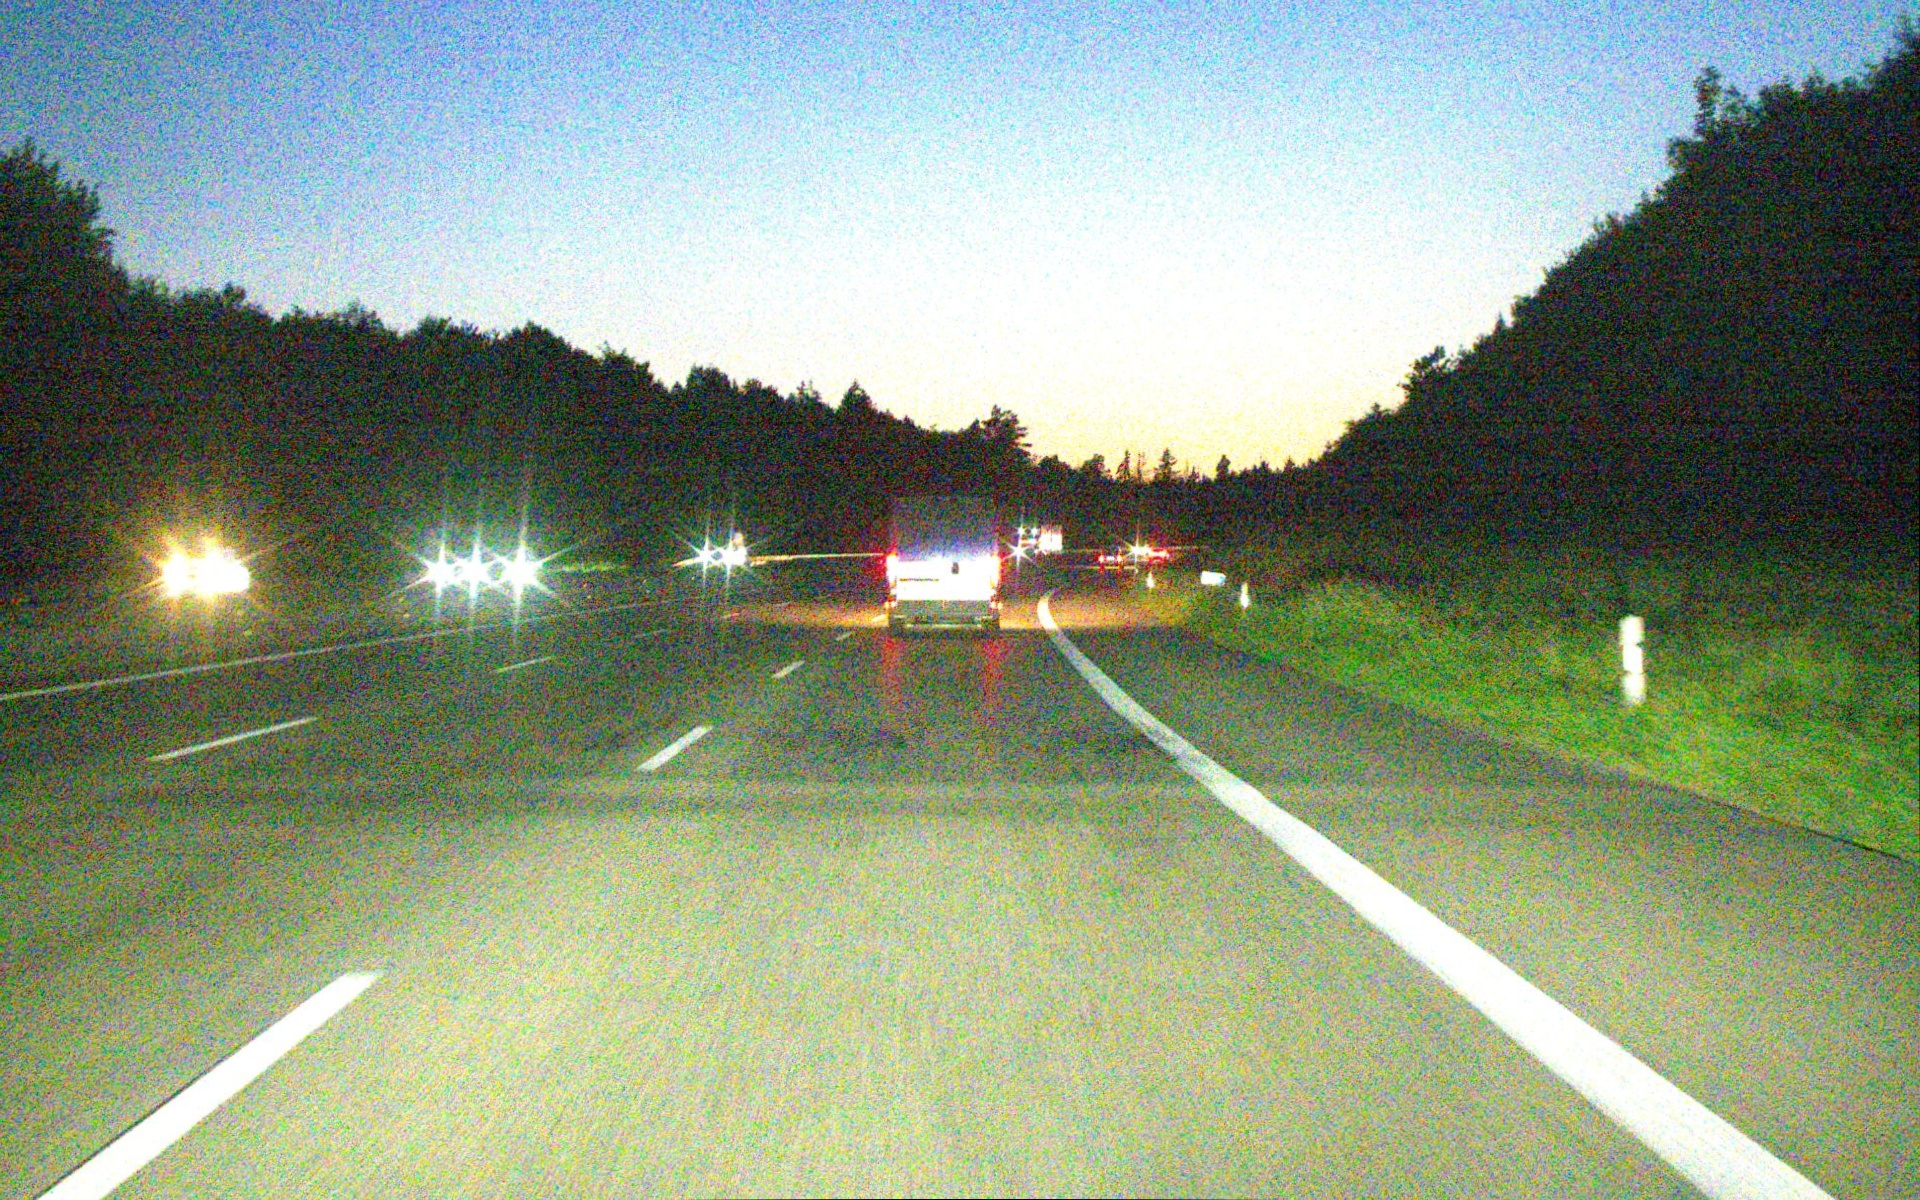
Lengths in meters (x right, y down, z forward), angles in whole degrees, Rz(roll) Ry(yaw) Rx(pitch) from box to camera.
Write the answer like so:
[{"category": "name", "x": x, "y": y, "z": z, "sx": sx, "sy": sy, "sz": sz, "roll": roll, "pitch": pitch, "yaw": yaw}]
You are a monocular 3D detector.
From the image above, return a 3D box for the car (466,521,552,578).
[{"category": "car", "x": -14.480, "y": -1.631, "z": 110.490, "sx": 1.993, "sy": 1.784, "sz": 4.680, "roll": 0, "pitch": 1, "yaw": 2}]

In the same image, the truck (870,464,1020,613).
[{"category": "truck", "x": -0.328, "y": -1.141, "z": 65.103, "sx": 2.630, "sy": 2.615, "sz": 8.685, "roll": 0, "pitch": 1, "yaw": -1}]

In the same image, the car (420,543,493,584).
[{"category": "car", "x": -18.326, "y": -1.328, "z": 125.244, "sx": 1.993, "sy": 1.475, "sz": 4.930, "roll": 0, "pitch": 1, "yaw": -1}]

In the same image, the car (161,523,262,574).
[{"category": "car", "x": -22.387, "y": -1.537, "z": 102.998, "sx": 1.993, "sy": 1.503, "sz": 4.401, "roll": 0, "pitch": 1, "yaw": 1}]

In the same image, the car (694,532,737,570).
[{"category": "car", "x": -16.209, "y": -3.255, "z": 228.134, "sx": 2.082, "sy": 2.479, "sz": 6.242, "roll": 0, "pitch": 1, "yaw": 3}]
